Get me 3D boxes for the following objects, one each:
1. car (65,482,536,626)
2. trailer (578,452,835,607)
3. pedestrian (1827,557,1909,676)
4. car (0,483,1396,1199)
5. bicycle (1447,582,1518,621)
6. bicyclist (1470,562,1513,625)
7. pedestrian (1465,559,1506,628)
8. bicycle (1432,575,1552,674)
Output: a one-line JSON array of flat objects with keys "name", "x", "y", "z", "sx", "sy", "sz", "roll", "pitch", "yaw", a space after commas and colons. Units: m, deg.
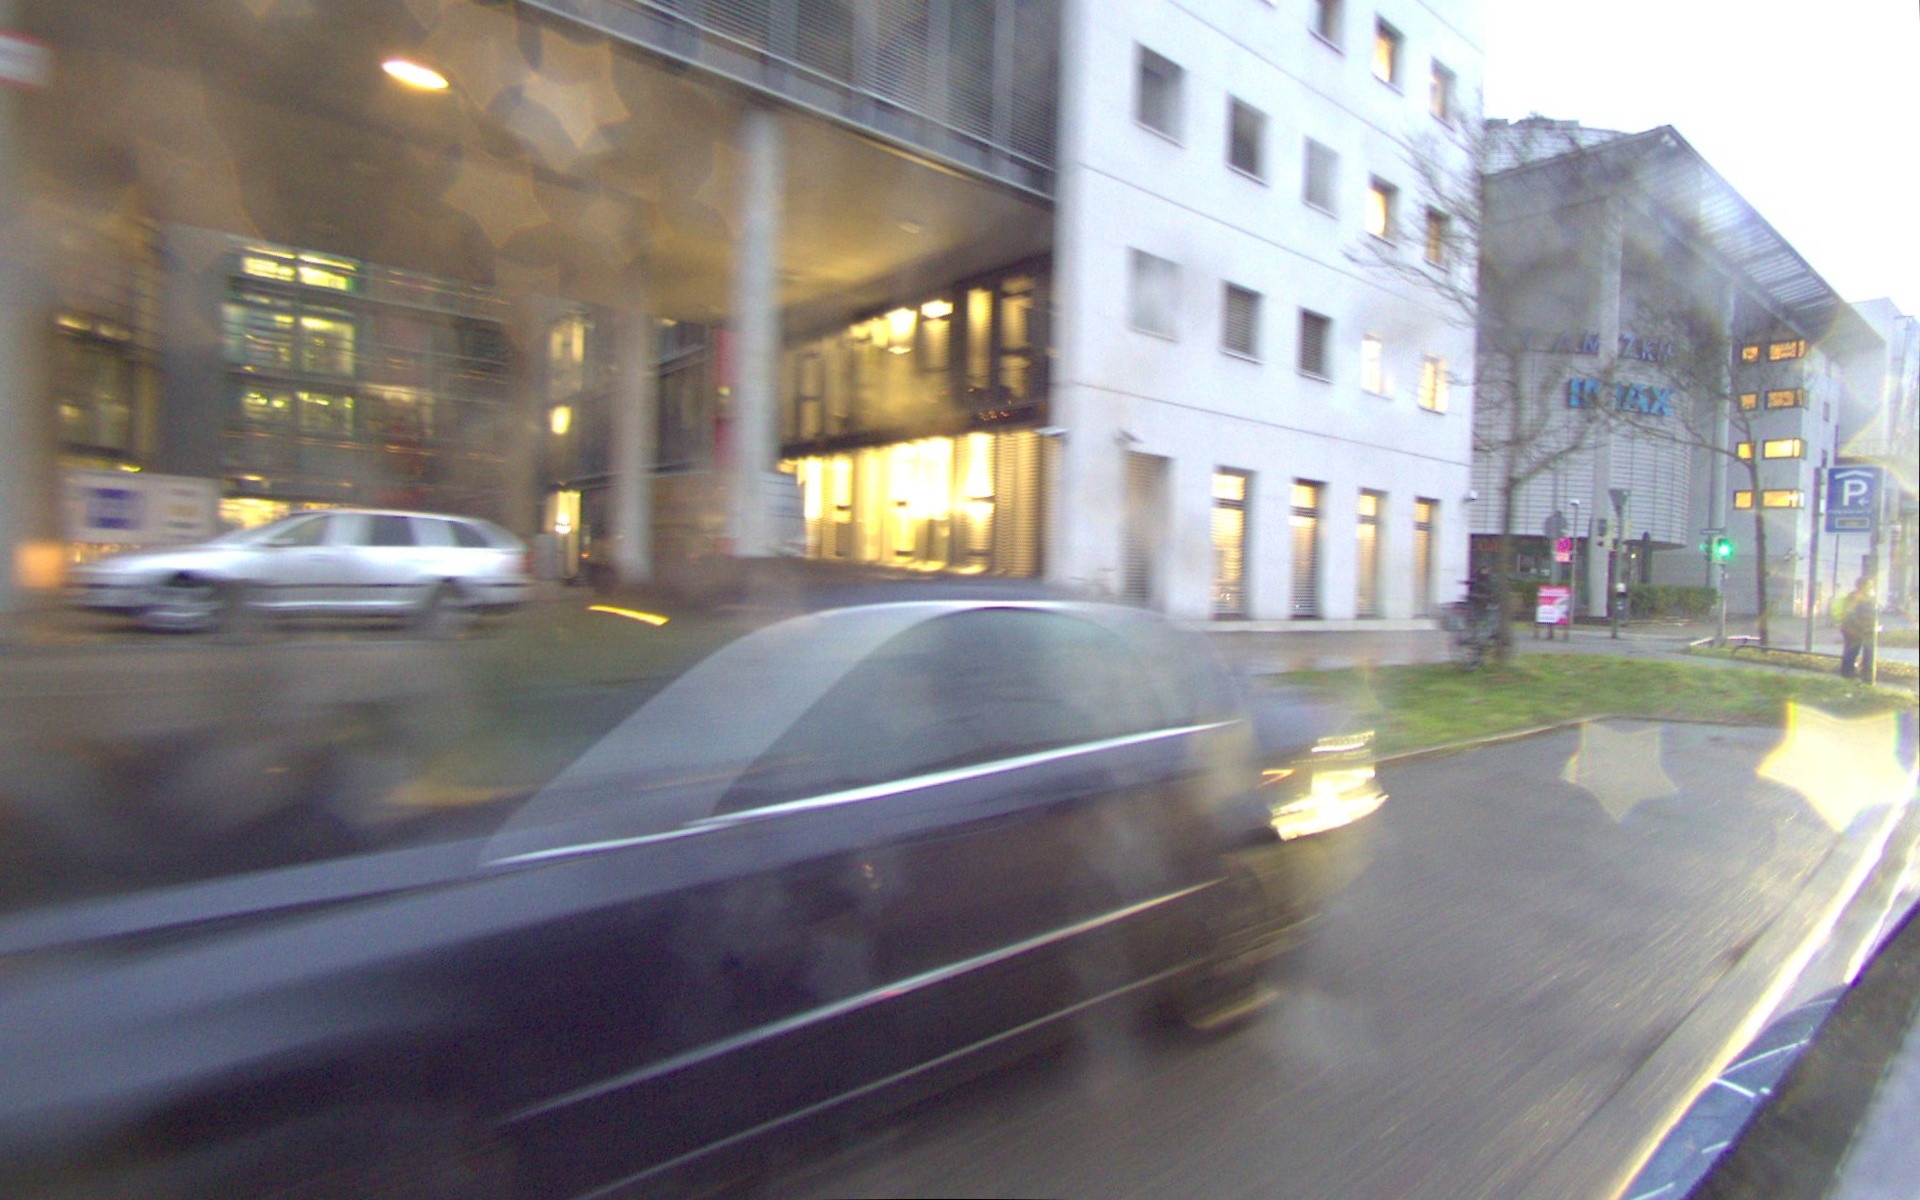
[{"name": "car", "x": -7.557, "y": -0.490, "z": 11.910, "sx": 4.454, "sy": 1.388, "sz": 1.634, "roll": -1, "pitch": 1, "yaw": -42}, {"name": "trailer", "x": -5.259, "y": -1.322, "z": 20.181, "sx": 2.173, "sy": 2.613, "sz": 6.265, "roll": 0, "pitch": 2, "yaw": -43}, {"name": "pedestrian", "x": 14.735, "y": 0.246, "z": 16.426, "sx": 0.687, "sy": 1.829, "sz": 0.772, "roll": -1, "pitch": 6, "yaw": -43}, {"name": "car", "x": -0.580, "y": 0.531, "z": 2.811, "sx": 4.154, "sy": 1.458, "sz": 1.599, "roll": -1, "pitch": 3, "yaw": -40}, {"name": "bicycle", "x": 16.020, "y": 0.034, "z": 31.065, "sx": 0.836, "sy": 1.105, "sz": 1.872, "roll": 3, "pitch": 0, "yaw": -16}, {"name": "bicyclist", "x": 16.172, "y": -0.196, "z": 30.789, "sx": 0.822, "sy": 1.845, "sz": 0.733, "roll": 3, "pitch": -1, "yaw": -17}, {"name": "pedestrian", "x": 13.622, "y": -0.178, "z": 26.239, "sx": 0.691, "sy": 1.757, "sz": 0.738, "roll": -1, "pitch": 1, "yaw": -42}, {"name": "bicycle", "x": 6.755, "y": 0.267, "z": 12.798, "sx": 2.128, "sy": 1.129, "sz": 0.552, "roll": -1, "pitch": 4, "yaw": -40}]
